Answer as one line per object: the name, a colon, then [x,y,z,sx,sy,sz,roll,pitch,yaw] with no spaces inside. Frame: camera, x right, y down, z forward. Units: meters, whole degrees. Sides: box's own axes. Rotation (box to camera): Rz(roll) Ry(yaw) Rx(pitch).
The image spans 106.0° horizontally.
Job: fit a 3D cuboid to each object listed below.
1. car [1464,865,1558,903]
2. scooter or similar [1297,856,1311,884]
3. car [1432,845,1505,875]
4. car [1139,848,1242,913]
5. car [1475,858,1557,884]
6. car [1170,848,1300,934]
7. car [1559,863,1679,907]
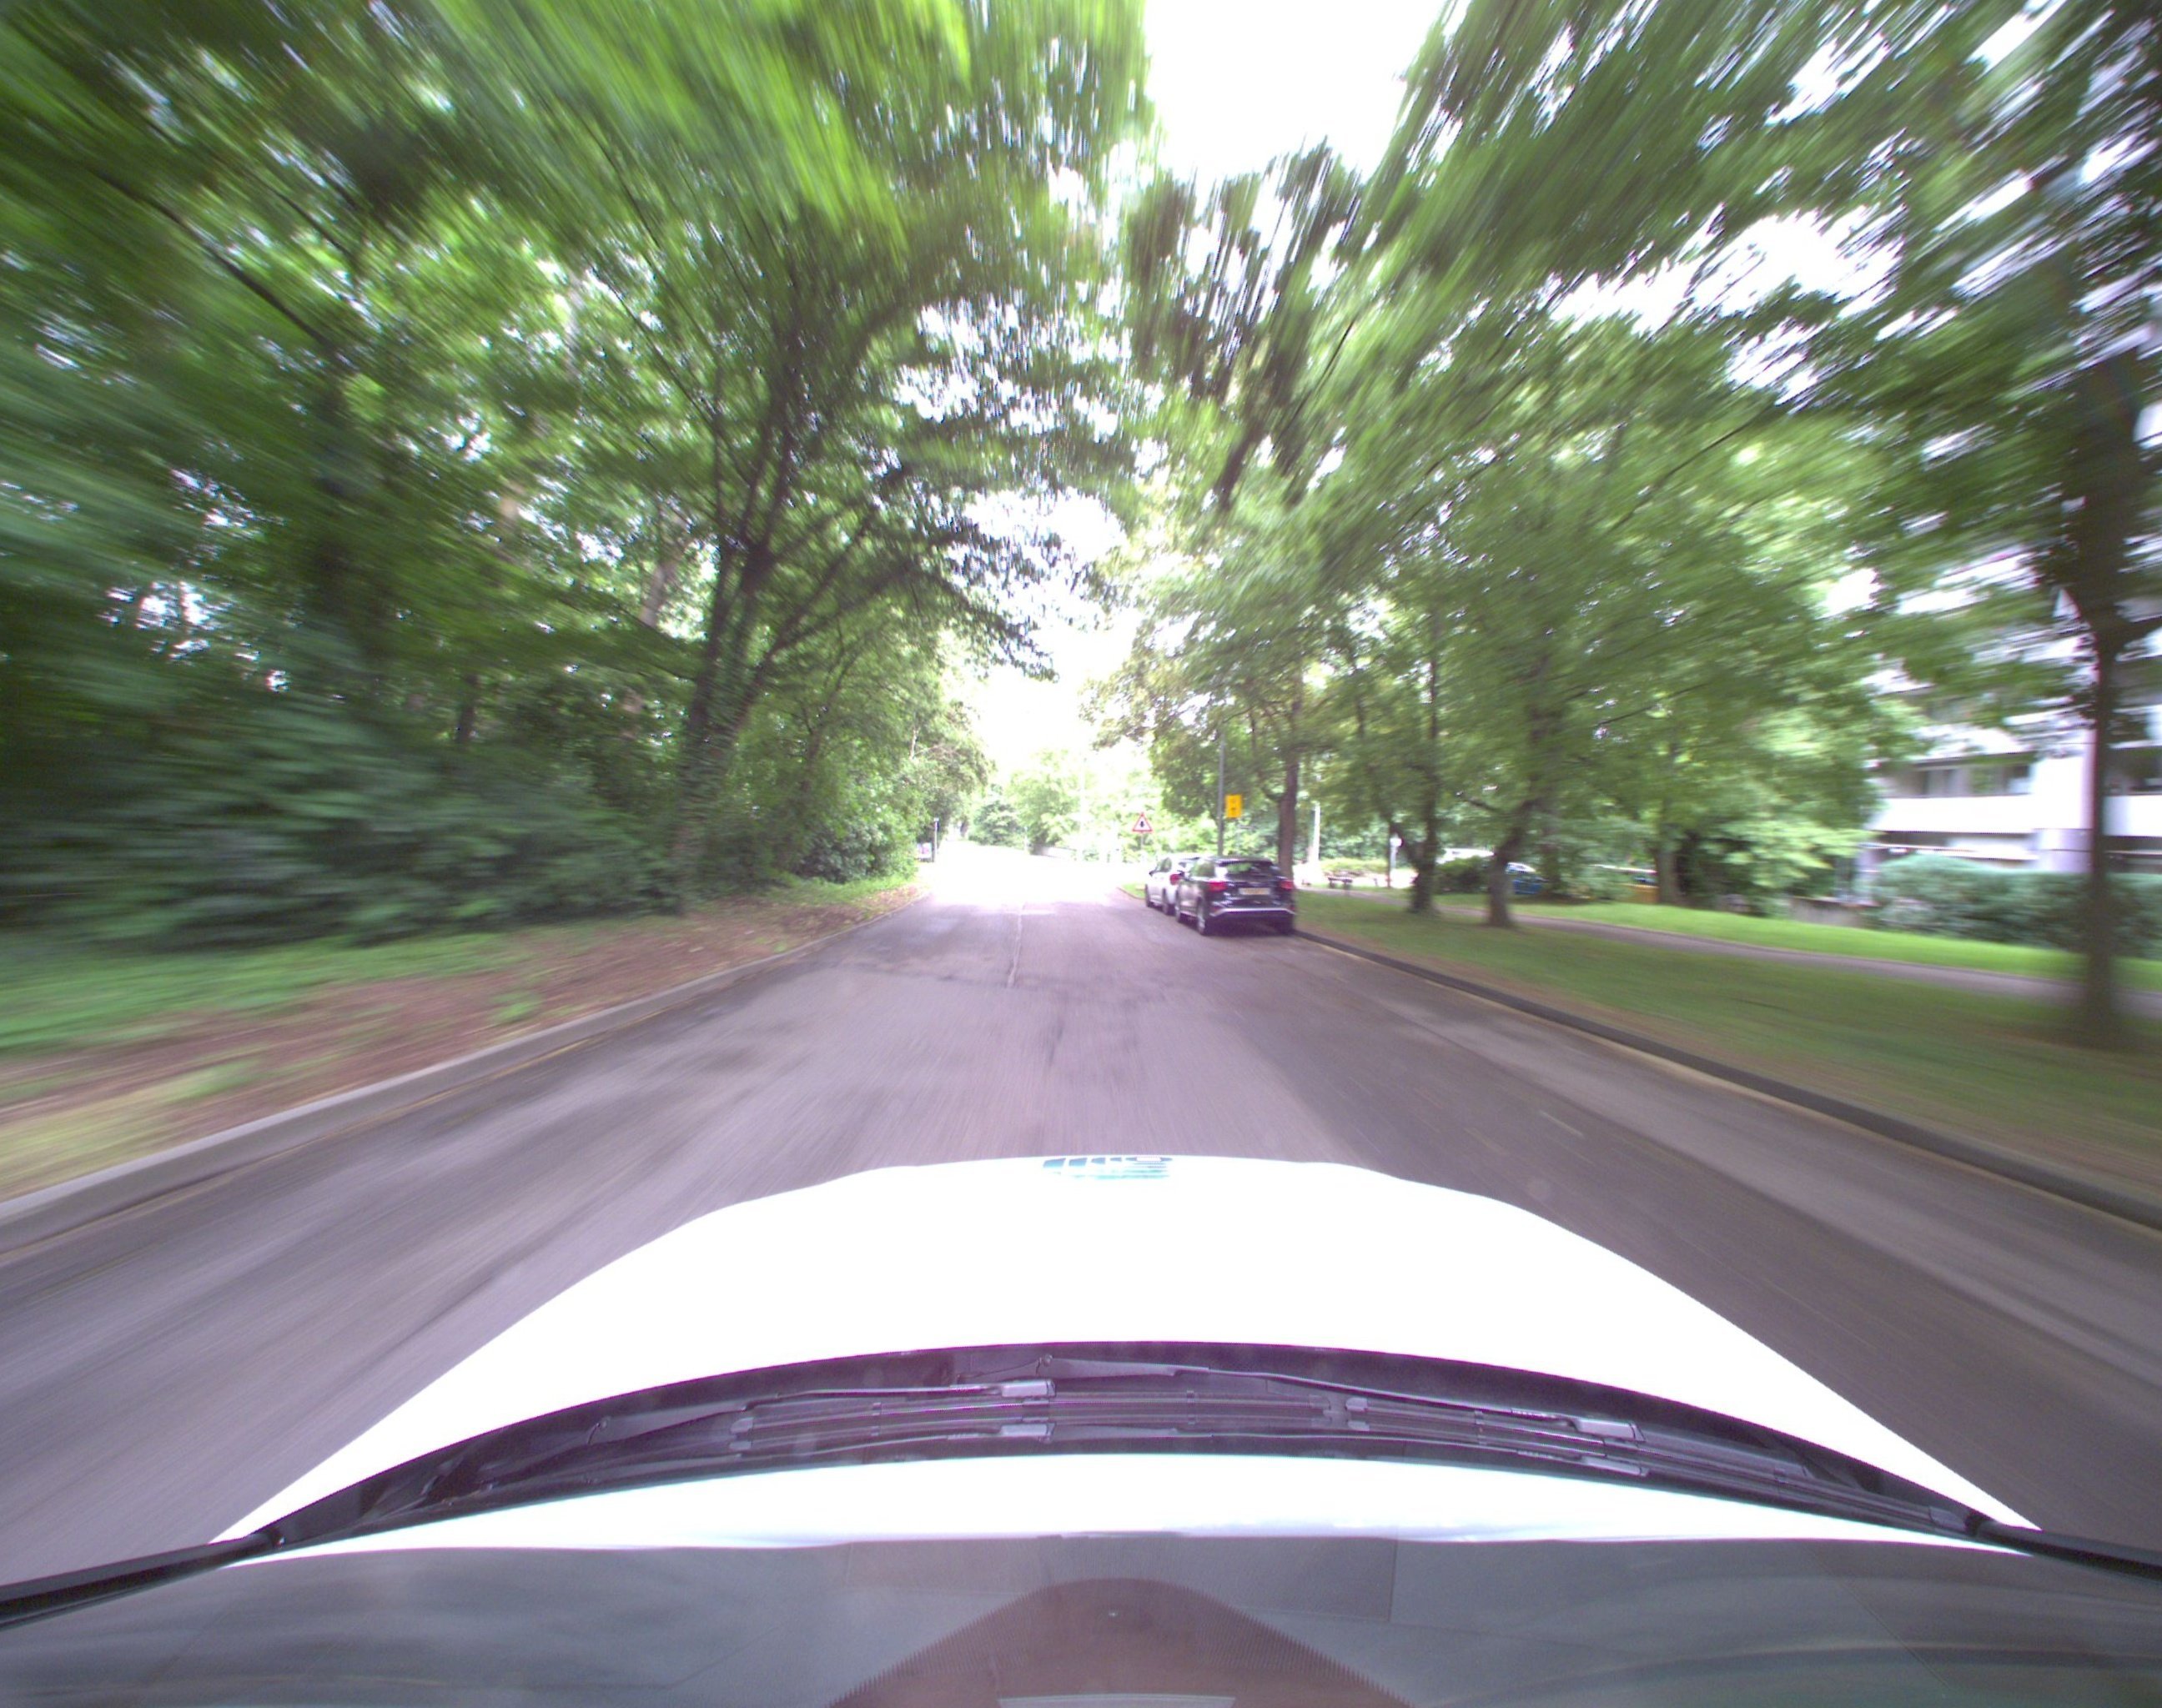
car: [20.451,1.408,38.855,3.496,1.570,1.837,2,1,8]
scooter or similar: [10.448,0.747,38.144,0.282,1.286,1.107,1,0,-2]
car: [26.912,0.396,56.658,4.191,2.013,2.000,1,0,1]
car: [2.759,0.621,21.335,1.772,1.522,3.771,1,0,-7]
car: [27.295,1.064,51.133,4.191,1.498,1.800,1,0,1]
car: [3.037,0.662,16.931,1.769,1.522,4.180,1,0,-2]
car: [25.220,1.421,38.295,4.376,1.848,1.835,2,1,4]
